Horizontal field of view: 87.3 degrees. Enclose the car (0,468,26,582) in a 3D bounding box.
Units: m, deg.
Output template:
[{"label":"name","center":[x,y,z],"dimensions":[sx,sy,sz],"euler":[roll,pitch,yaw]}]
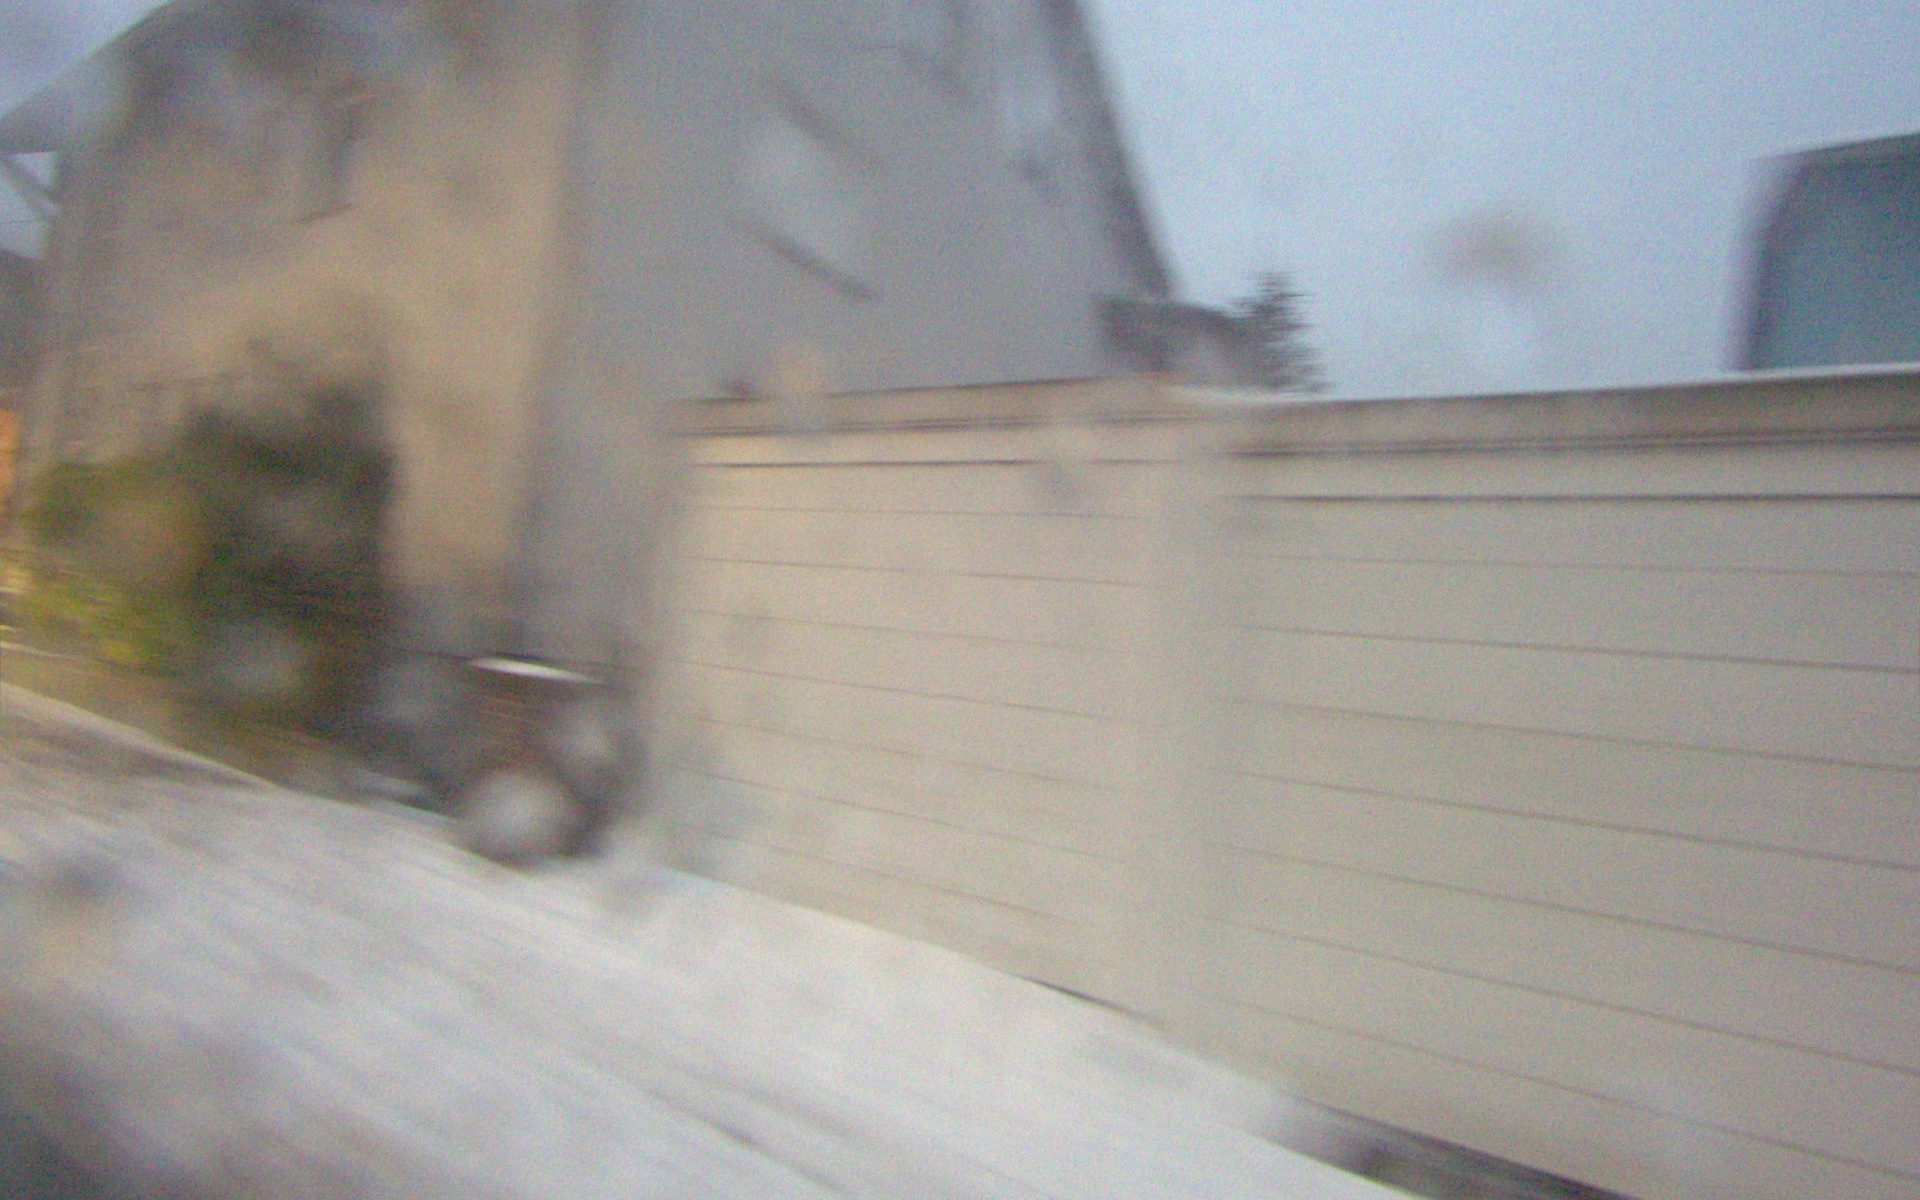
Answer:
[{"label":"car","center":[-17.749,-1.511,15.686],"dimensions":[1.880,1.880,4.212],"euler":[6,-2,33]}]
